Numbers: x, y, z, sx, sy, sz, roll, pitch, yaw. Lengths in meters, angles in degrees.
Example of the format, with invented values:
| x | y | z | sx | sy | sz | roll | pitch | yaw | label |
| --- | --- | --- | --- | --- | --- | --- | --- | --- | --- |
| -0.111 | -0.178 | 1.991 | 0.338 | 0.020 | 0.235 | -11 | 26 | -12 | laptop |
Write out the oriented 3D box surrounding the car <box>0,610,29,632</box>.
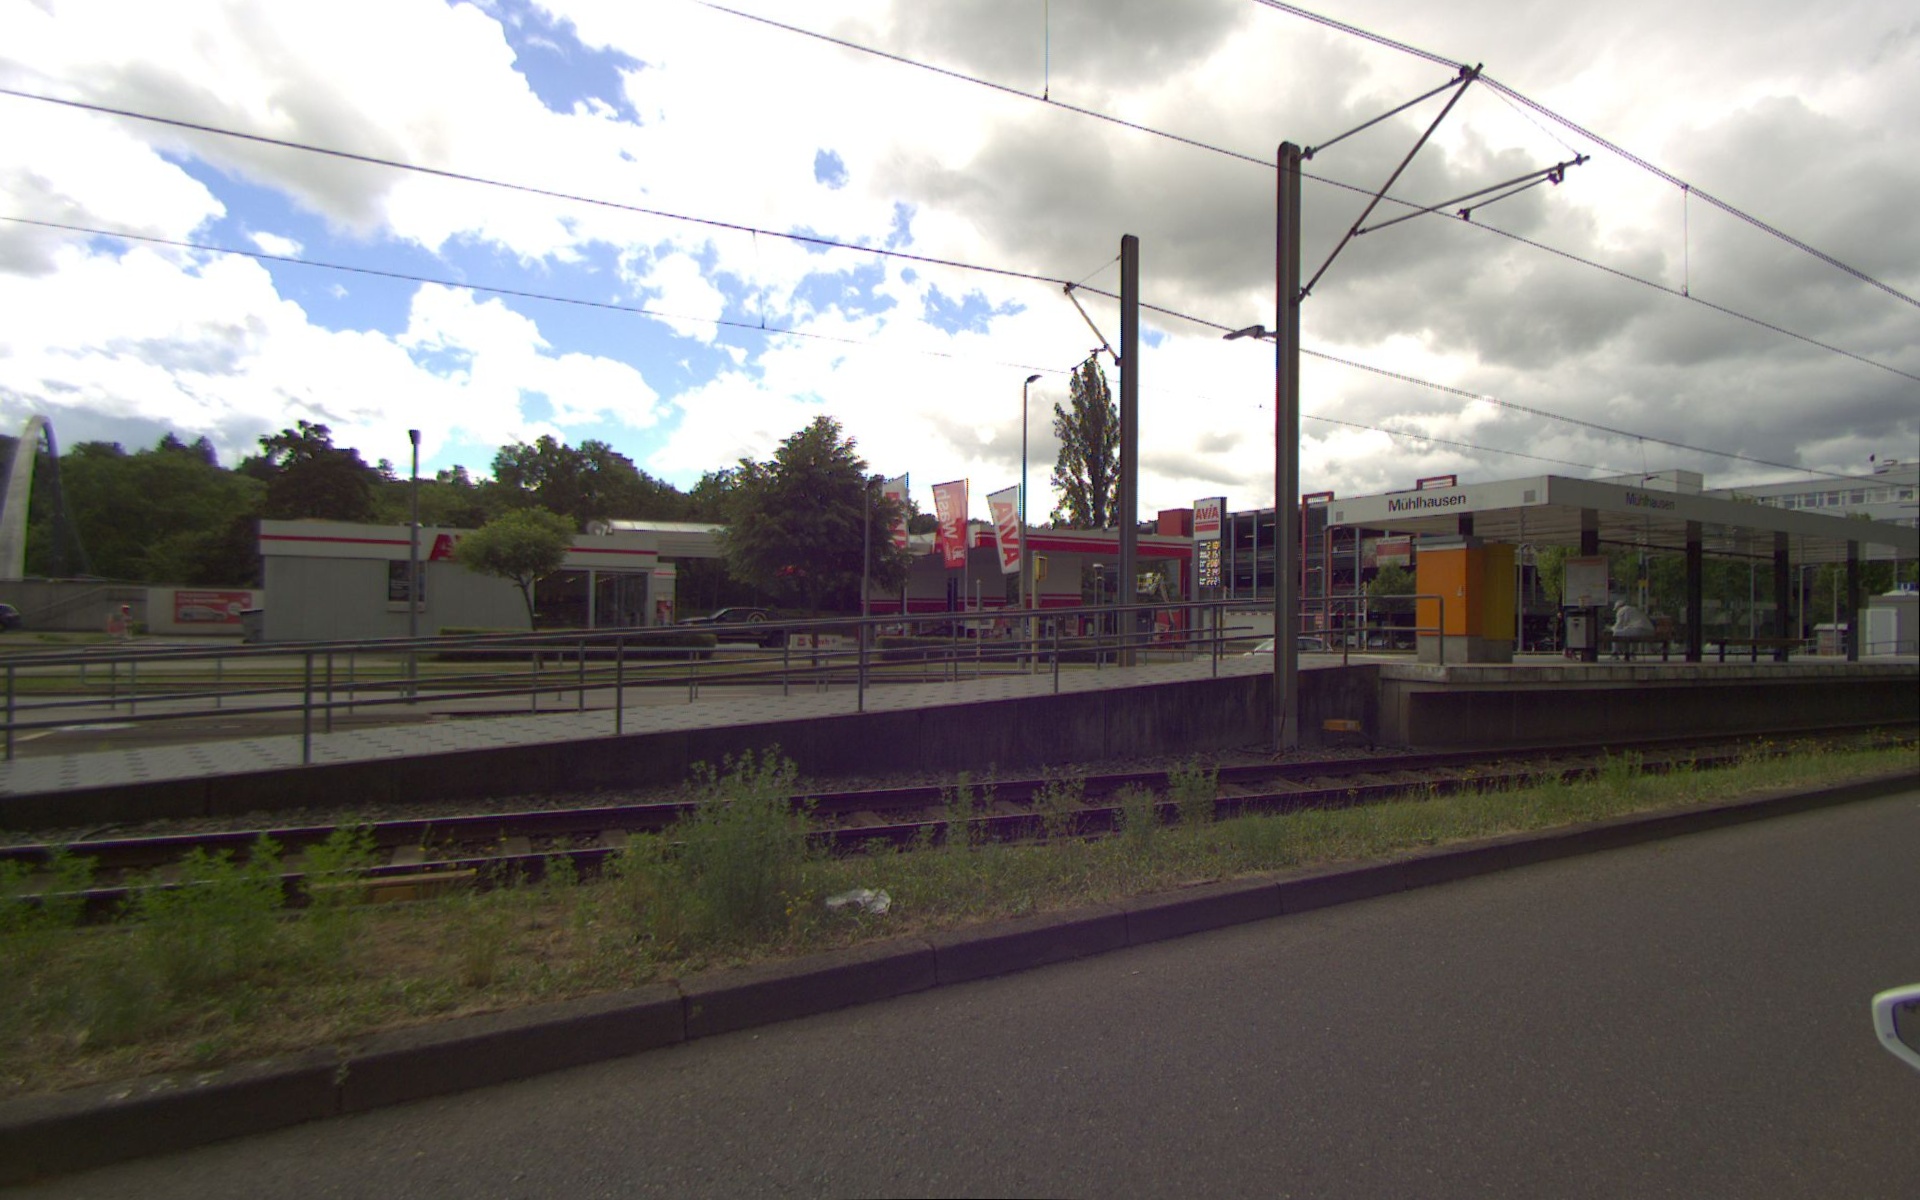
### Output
| x | y | z | sx | sy | sz | roll | pitch | yaw | label |
| --- | --- | --- | --- | --- | --- | --- | --- | --- | --- |
| -53.222 | 1.108 | 54.490 | 3.859 | 1.136 | 1.556 | 3 | -4 | -41 | car |

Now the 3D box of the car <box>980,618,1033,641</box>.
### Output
| x | y | z | sx | sy | sz | roll | pitch | yaw | label |
| --- | --- | --- | --- | --- | --- | --- | --- | --- | --- |
| 3.864 | 2.451 | 83.584 | 4.015 | 1.775 | 1.899 | 2 | -3 | -33 | car |

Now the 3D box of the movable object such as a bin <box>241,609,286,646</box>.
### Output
| x | y | z | sx | sy | sz | roll | pitch | yaw | label |
| --- | --- | --- | --- | --- | --- | --- | --- | --- | --- |
| -29.476 | 1.162 | 42.543 | 1.354 | 1.514 | 1.098 | 2 | -3 | -24 | movable object such as a bin |

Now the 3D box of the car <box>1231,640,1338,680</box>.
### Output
| x | y | z | sx | sy | sz | roll | pitch | yaw | label |
| --- | --- | --- | --- | --- | --- | --- | --- | --- | --- |
| 12.182 | 2.233 | 37.672 | 3.984 | 1.368 | 1.605 | 2 | -2 | -31 | car |

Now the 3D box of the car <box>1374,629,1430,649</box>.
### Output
| x | y | z | sx | sy | sz | roll | pitch | yaw | label |
| --- | --- | --- | --- | --- | --- | --- | --- | --- | --- |
| 31.920 | 2.838 | 72.521 | 3.756 | 1.327 | 1.842 | 2 | -3 | -30 | car |

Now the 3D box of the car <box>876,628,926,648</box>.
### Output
| x | y | z | sx | sy | sz | roll | pitch | yaw | label |
| --- | --- | --- | --- | --- | --- | --- | --- | --- | --- |
| -5.495 | 3.552 | 93.605 | 4.407 | 1.728 | 1.894 | 3 | -4 | -39 | car |

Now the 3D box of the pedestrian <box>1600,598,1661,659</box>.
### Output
| x | y | z | sx | sy | sz | roll | pitch | yaw | label |
| --- | --- | --- | --- | --- | --- | --- | --- | --- | --- |
| 13.569 | 0.583 | 20.334 | 0.719 | 1.205 | 0.766 | 2 | -2 | -27 | pedestrian |

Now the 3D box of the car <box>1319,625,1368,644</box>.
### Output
| x | y | z | sx | sy | sz | roll | pitch | yaw | label |
| --- | --- | --- | --- | --- | --- | --- | --- | --- | --- |
| 29.434 | 2.673 | 77.105 | 3.519 | 1.433 | 1.708 | 2 | -3 | -30 | car |

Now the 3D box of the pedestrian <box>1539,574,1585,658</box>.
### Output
| x | y | z | sx | sy | sz | roll | pitch | yaw | label |
| --- | --- | --- | --- | --- | --- | --- | --- | --- | --- |
| 11.907 | 0.326 | 19.884 | 0.579 | 1.641 | 0.567 | 2 | -3 | -31 | pedestrian |

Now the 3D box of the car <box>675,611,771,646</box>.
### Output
| x | y | z | sx | sy | sz | roll | pitch | yaw | label |
| --- | --- | --- | --- | --- | --- | --- | --- | --- | --- |
| -9.873 | 1.199 | 41.900 | 3.591 | 1.368 | 1.606 | 2 | -2 | -29 | car |
